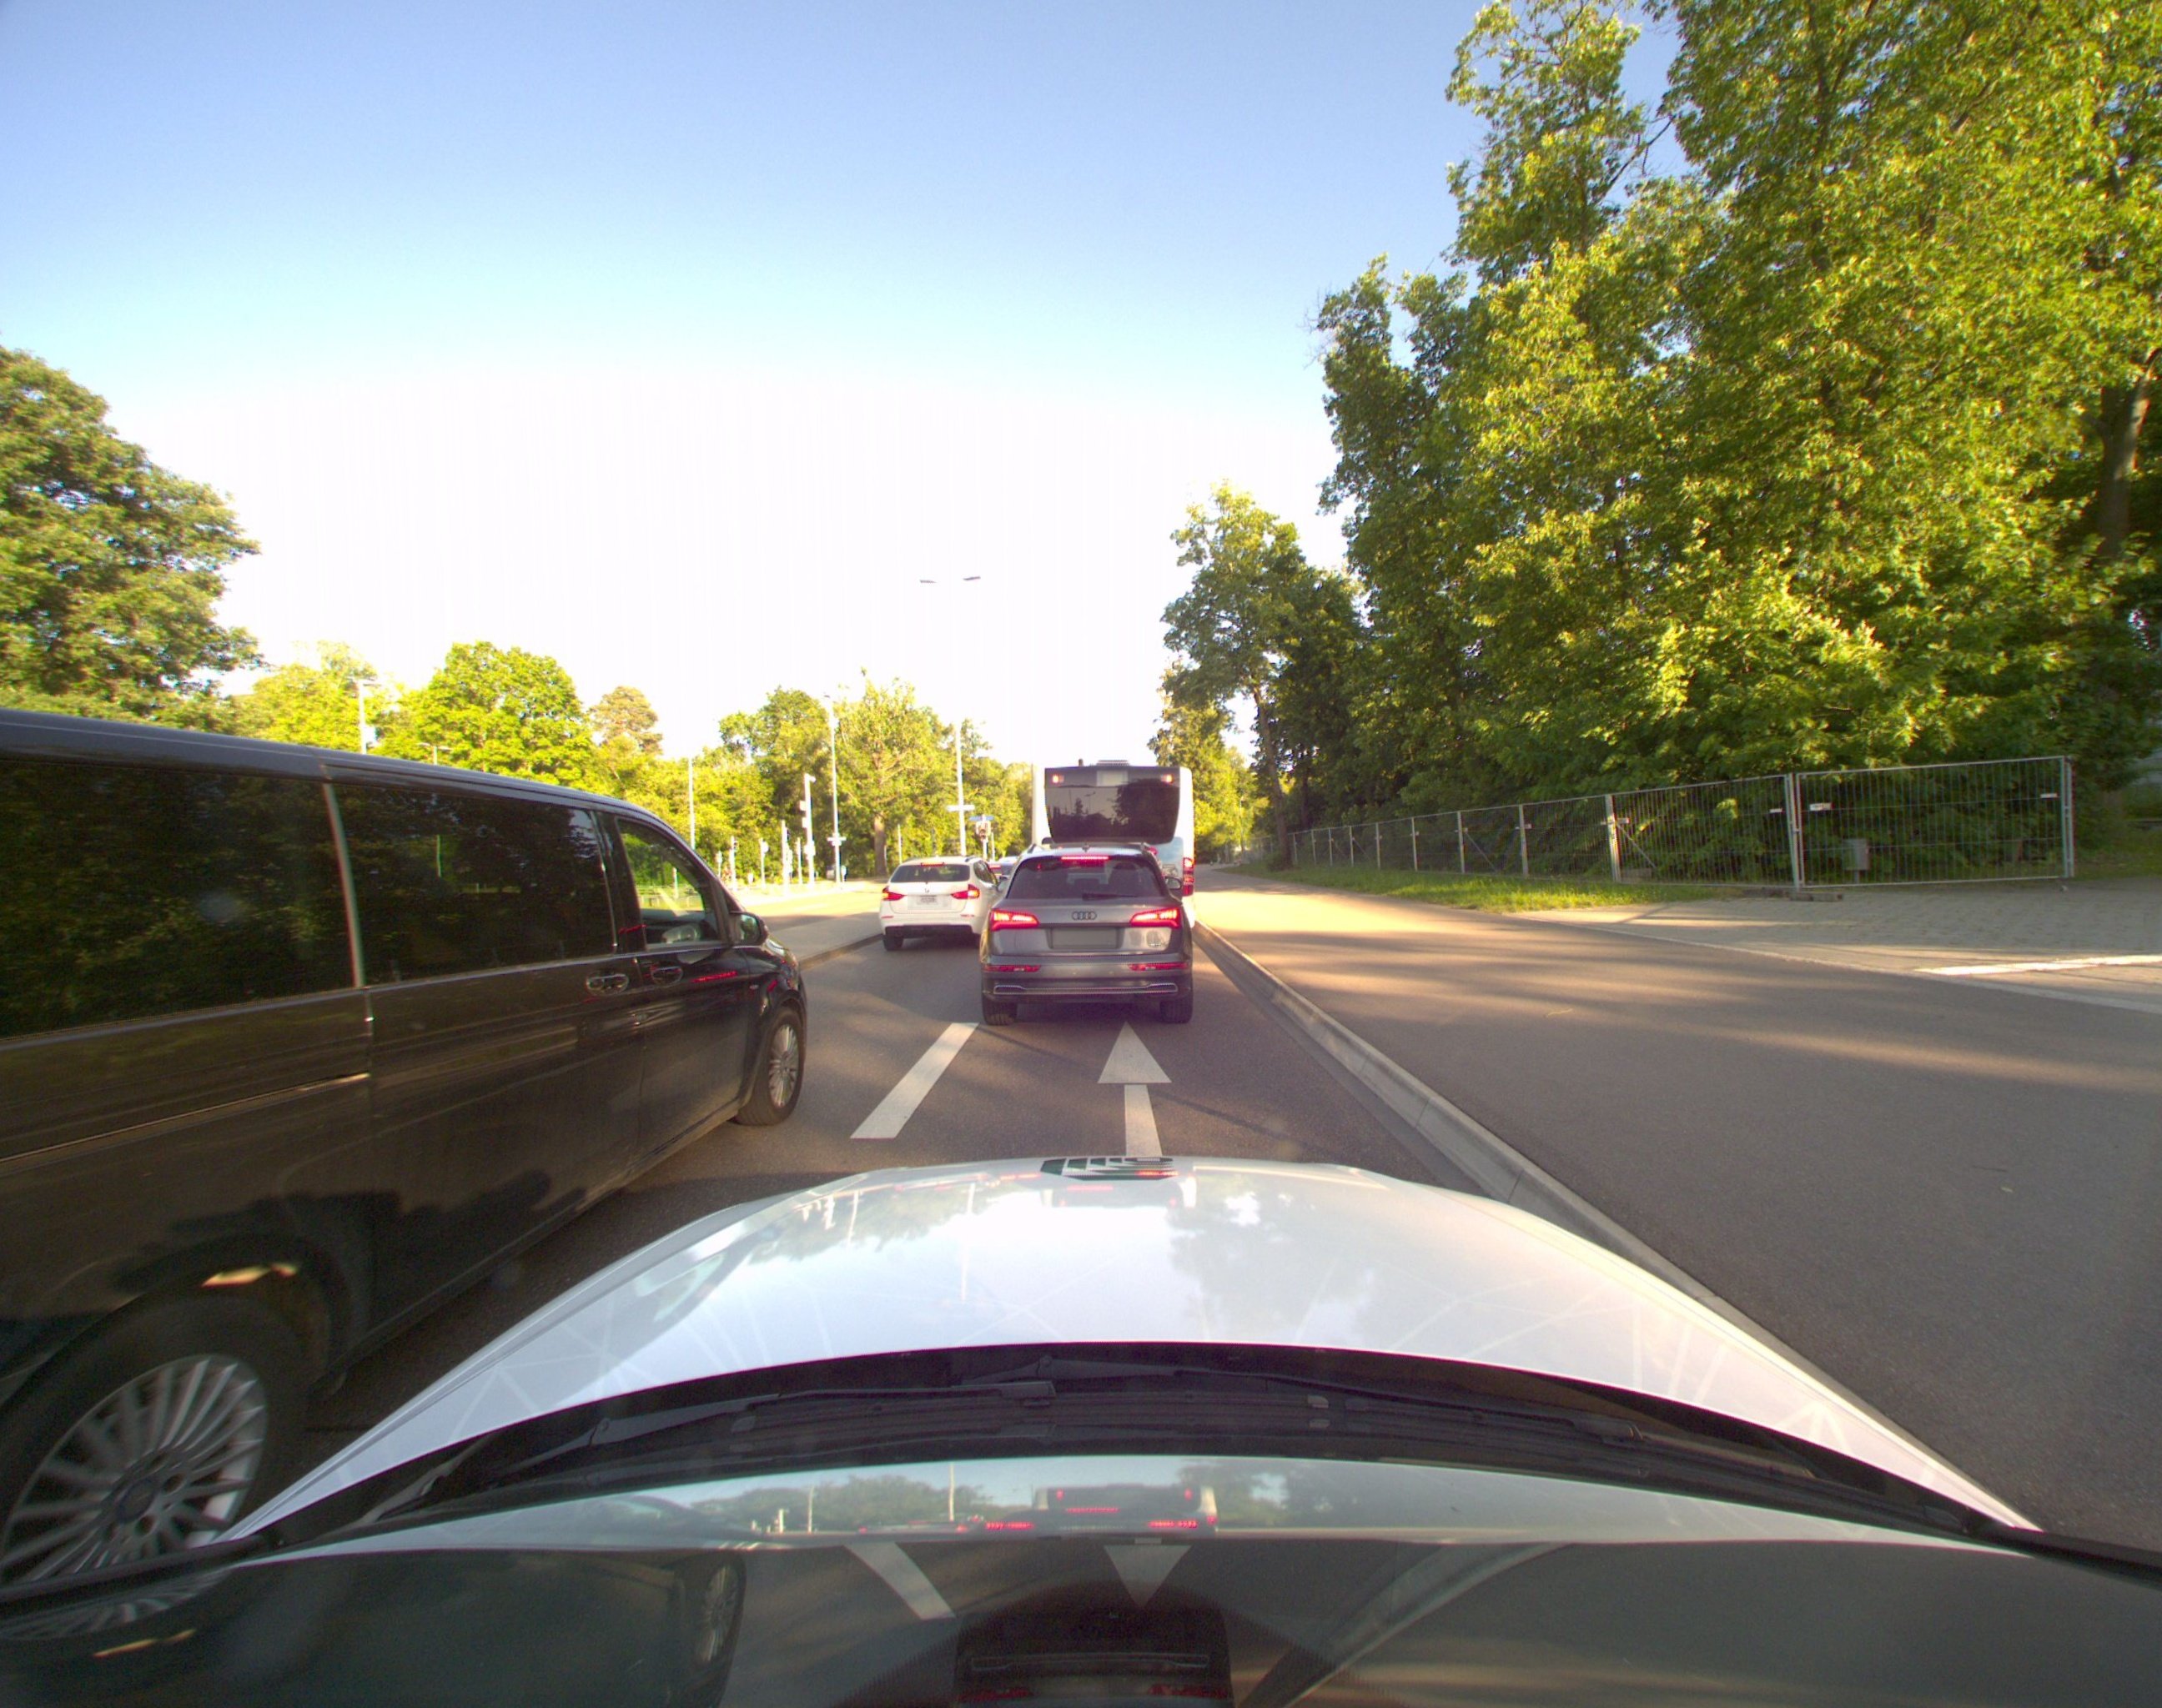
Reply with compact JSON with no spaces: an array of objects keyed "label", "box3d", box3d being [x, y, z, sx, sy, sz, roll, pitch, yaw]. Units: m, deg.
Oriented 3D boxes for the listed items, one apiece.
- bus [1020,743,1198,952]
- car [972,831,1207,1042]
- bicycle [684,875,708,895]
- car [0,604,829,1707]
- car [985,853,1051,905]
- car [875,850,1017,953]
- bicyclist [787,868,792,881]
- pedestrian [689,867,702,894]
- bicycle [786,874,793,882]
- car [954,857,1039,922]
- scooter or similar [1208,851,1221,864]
[{"label":"bus","box3d":[0.577,-0.116,15.263,2.667,3.142,5.887,0,0,3]},{"label":"car","box3d":[0.133,0.640,8.482,1.861,1.663,4.002,0,1,2]},{"label":"bicycle","box3d":[-23.190,1.849,49.095,0.466,1.178,2.005,0,-1,2]},{"label":"car","box3d":[-2.659,0.524,2.971,1.901,1.856,4.873,0,0,0]},{"label":"car","box3d":[-2.057,0.792,27.770,1.801,1.572,4.002,0,1,2]},{"label":"car","box3d":[-2.284,0.766,14.886,1.712,1.581,4.435,0,-1,2]},{"label":"bicyclist","box3d":[-21.796,1.539,60.828,0.272,0.963,0.240,0,-1,-3]},{"label":"pedestrian","box3d":[-23.197,1.588,49.042,0.480,1.562,0.649,0,-1,2]},{"label":"bicycle","box3d":[-21.801,1.795,60.810,0.266,0.581,0.838,0,-1,-4]},{"label":"car","box3d":[-2.103,0.843,21.295,1.780,1.444,4.277,0,1,-1]},{"label":"scooter or similar","box3d":[12.796,0.316,77.851,1.175,1.174,0.661,0,0,13]}]
